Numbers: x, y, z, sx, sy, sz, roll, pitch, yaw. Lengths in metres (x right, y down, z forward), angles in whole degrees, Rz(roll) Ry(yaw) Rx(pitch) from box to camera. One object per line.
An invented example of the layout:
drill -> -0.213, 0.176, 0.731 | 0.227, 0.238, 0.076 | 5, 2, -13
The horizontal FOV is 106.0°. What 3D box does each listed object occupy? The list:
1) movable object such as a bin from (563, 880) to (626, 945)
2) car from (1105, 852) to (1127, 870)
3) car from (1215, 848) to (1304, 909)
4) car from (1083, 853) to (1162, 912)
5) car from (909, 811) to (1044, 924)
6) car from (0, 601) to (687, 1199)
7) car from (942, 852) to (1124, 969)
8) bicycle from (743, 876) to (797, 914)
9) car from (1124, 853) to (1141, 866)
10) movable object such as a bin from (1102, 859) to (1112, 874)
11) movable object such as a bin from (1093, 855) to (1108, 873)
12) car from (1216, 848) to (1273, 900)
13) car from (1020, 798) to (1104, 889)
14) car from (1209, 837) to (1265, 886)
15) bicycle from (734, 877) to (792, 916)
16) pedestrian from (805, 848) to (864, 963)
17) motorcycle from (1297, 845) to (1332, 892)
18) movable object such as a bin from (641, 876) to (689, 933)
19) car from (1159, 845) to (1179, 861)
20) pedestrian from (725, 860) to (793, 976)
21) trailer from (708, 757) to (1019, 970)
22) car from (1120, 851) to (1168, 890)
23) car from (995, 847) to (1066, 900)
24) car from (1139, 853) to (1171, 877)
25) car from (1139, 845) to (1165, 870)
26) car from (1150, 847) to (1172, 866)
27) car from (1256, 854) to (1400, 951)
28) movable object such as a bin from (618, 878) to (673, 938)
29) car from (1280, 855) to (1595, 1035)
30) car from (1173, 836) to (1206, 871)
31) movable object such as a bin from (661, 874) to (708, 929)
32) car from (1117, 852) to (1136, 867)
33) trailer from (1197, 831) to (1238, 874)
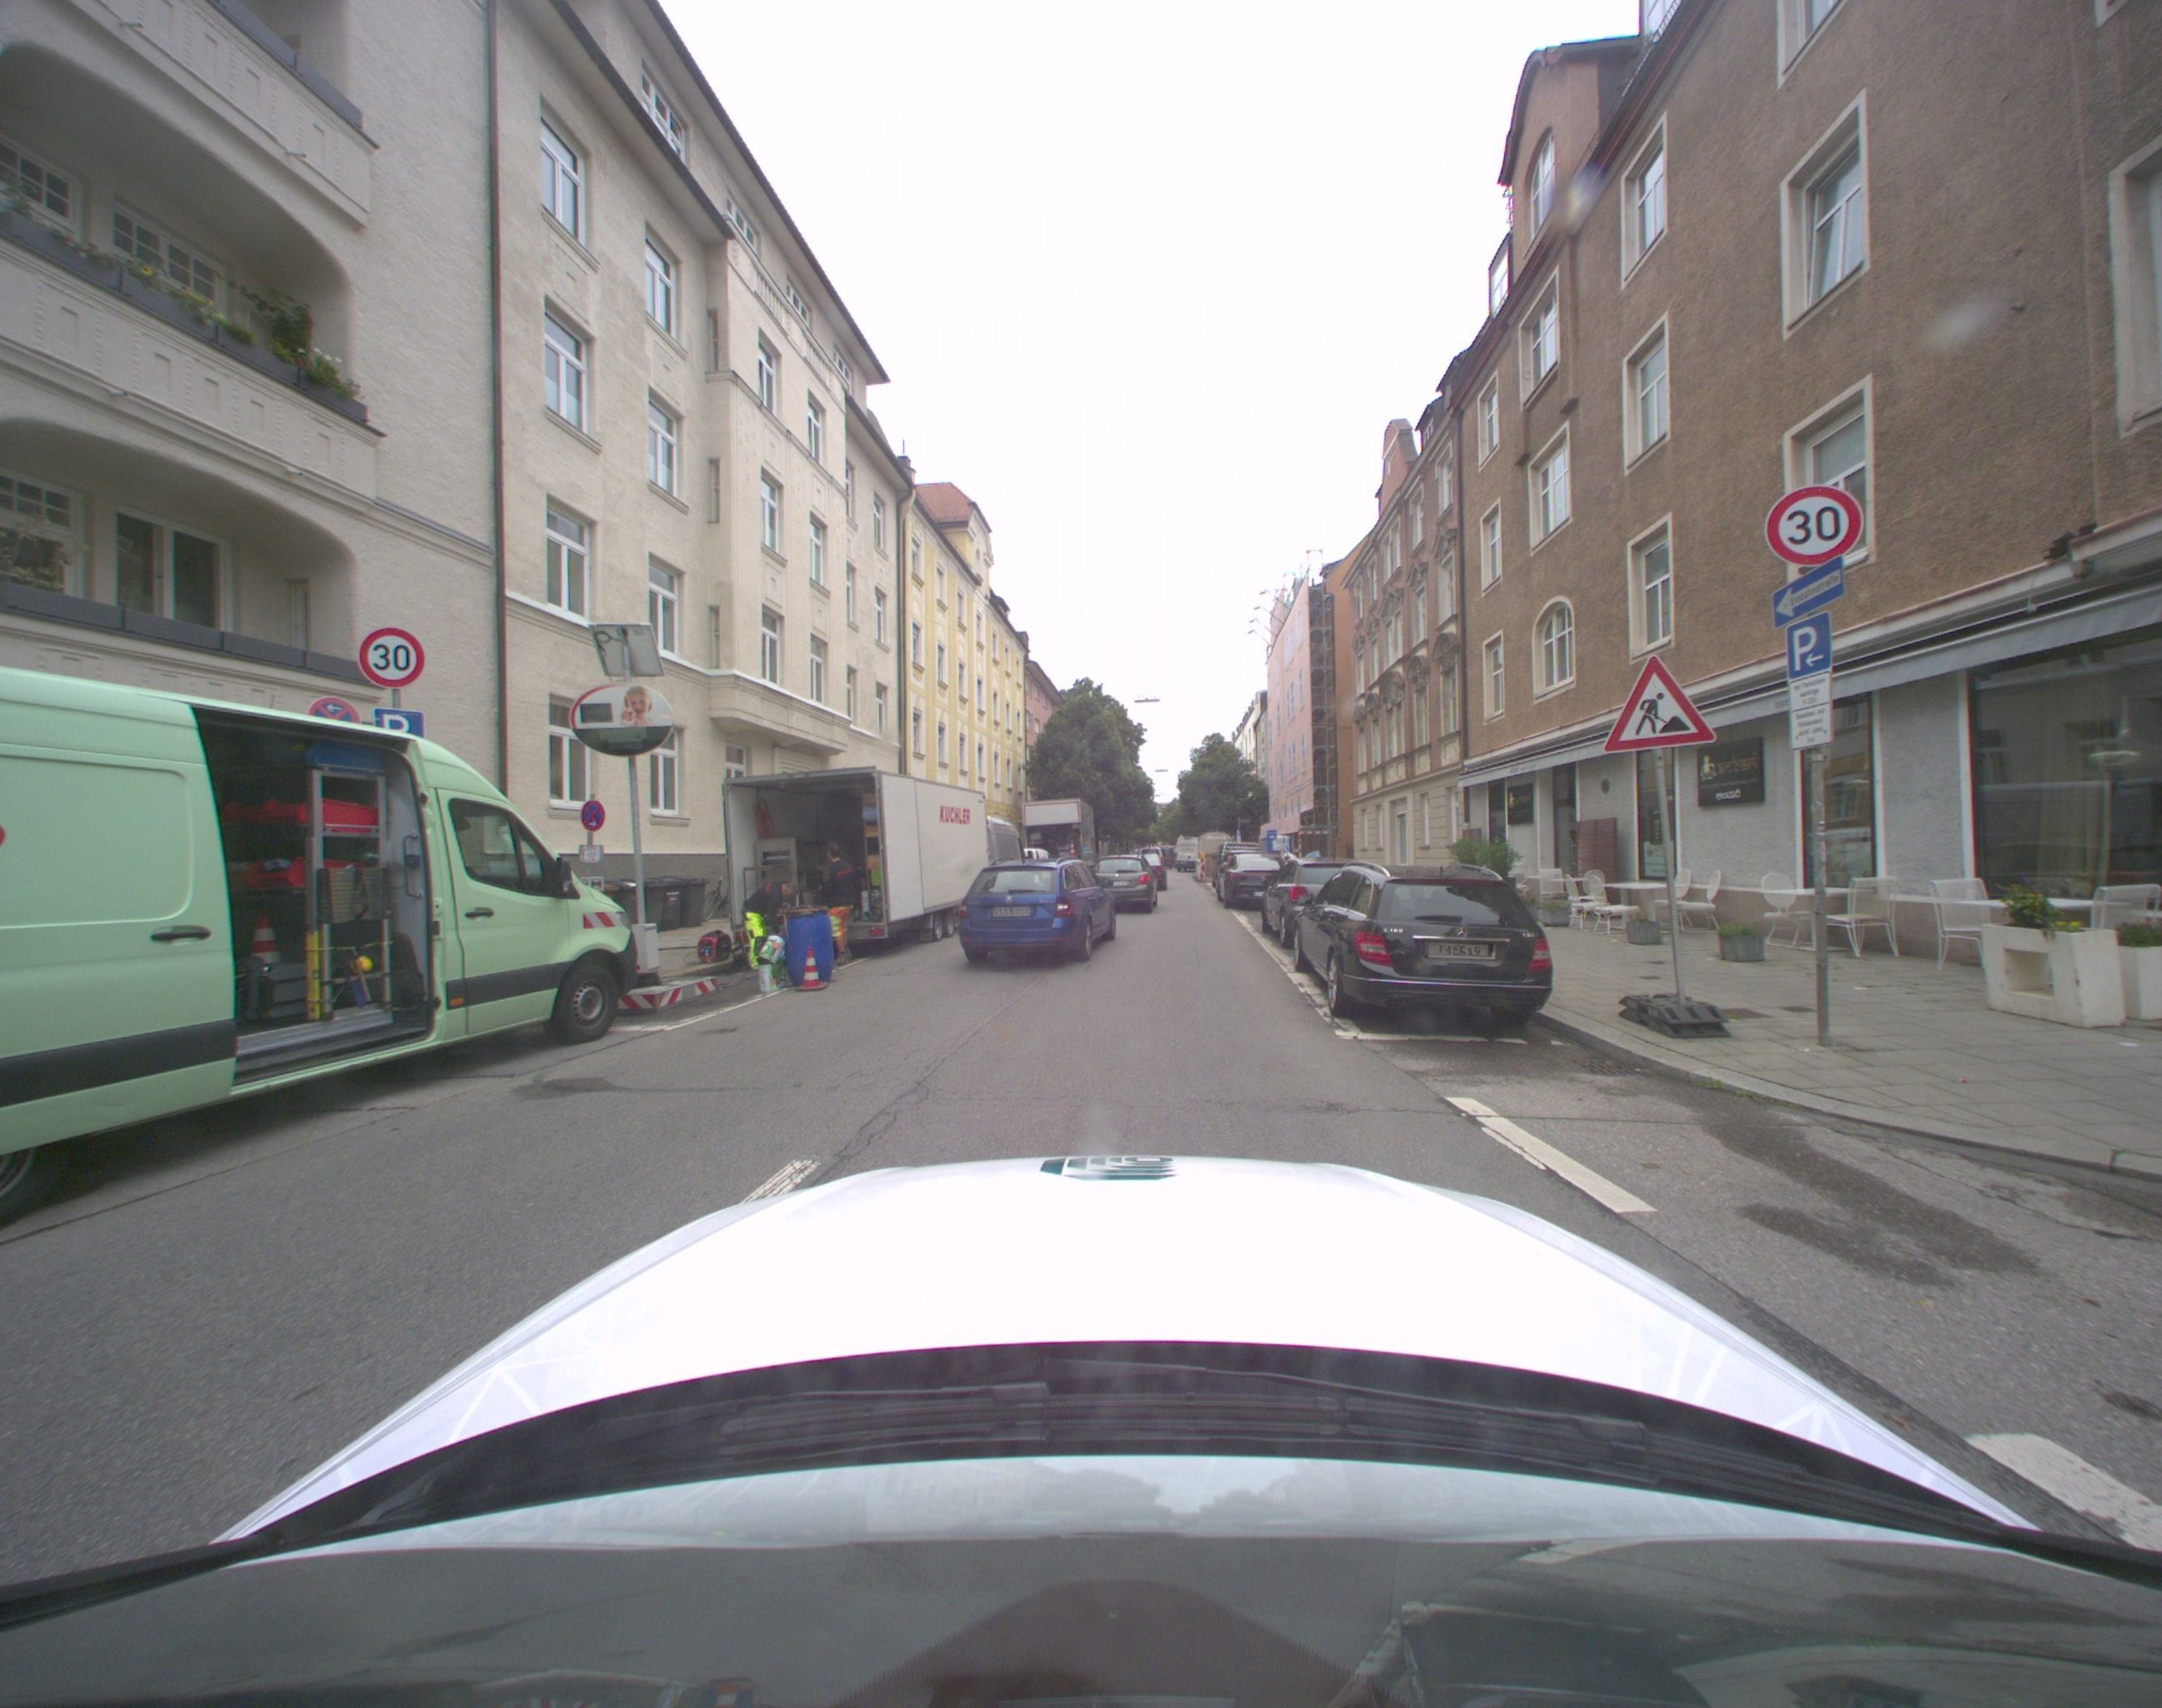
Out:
movable object such as a bin -> -8.885, 1.058, 14.892 | 0.644, 1.129, 0.732 | -2, -1, 9
car -> 3.110, 0.576, 71.645 | 1.804, 1.478, 4.005 | 0, 0, 5
car -> 5.062, 0.622, 23.834 | 1.921, 1.553, 5.646 | 0, 0, 6
car -> 1.174, 0.702, 21.522 | 1.731, 1.422, 3.672 | -1, 0, 8
car -> -2.712, 0.320, 23.333 | 2.045, 2.587, 6.889 | -5, 0, 6
car -> -5.530, 0.203, 5.059 | 2.129, 2.572, 6.808 | -1, 0, 7
car -> -0.517, 0.729, 12.501 | 1.778, 1.460, 4.327 | -1, 0, 10
bicycle -> -8.163, 1.063, 21.443 | 0.412, 0.914, 1.762 | 2, 0, 12
car -> 6.001, 0.591, 94.283 | 1.803, 1.478, 4.008 | 0, 0, 7
movable object such as a bin -> 2.045, 0.945, 62.957 | 0.708, 1.148, 0.637 | -3, 0, 3
movable object such as a bin -> 1.558, 0.771, 63.844 | 1.077, 1.376, 1.084 | -3, 0, 2
car -> 5.777, 0.669, 29.135 | 1.684, 1.676, 4.417 | 2, 0, 8
car -> -0.682, -0.424, 39.007 | 2.798, 3.817, 8.738 | -1, 0, 6
car -> 6.651, 0.386, 35.157 | 2.071, 1.921, 5.150 | 0, -2, 8
bicycle -> -8.001, 1.060, 20.553 | 0.391, 0.914, 1.596 | 2, 0, 18
pedestrian -> -3.630, 0.736, 12.037 | 0.762, 1.631, 0.634 | -1, -1, -13
motorcycle -> 7.819, 0.461, 27.372 | 0.866, 1.505, 2.002 | -1, 0, 8
movable object such as a bin -> -8.565, 1.034, 16.781 | 0.644, 1.129, 0.556 | -2, -1, 9
car -> 9.381, -0.076, 86.800 | 1.997, 1.653, 4.356 | 0, 1, 7
pedestrian -> -4.577, 0.893, 11.624 | 0.761, 1.580, 0.635 | -1, -1, -11
trailer -> -3.563, 0.104, 15.868 | 2.787, 2.969, 7.619 | -4, 0, 9
car -> 2.660, 0.630, 33.656 | 1.858, 1.454, 4.354 | 0, 1, 6
car -> -1.823, 0.681, 30.715 | 1.753, 1.779, 4.336 | -3, 0, 8
car -> 4.605, 0.635, 50.380 | 1.858, 1.348, 4.355 | 0, 1, 7
car -> 5.551, 0.234, 63.512 | 1.858, 1.870, 4.355 | 0, 1, 7
car -> 7.240, 0.236, 73.544 | 1.858, 1.653, 4.355 | 0, 1, 7
car -> 4.084, 0.731, 14.082 | 1.564, 1.394, 4.189 | -1, -1, 6
movable object such as a bin -> -8.653, 1.066, 16.196 | 0.673, 1.129, 0.640 | -2, -1, 9
car -> 3.417, 0.732, 8.897 | 1.837, 1.405, 4.797 | -1, 0, 7
car -> 8.658, -0.046, 64.419 | 2.098, 2.664, 5.518 | 0, 0, 12
movable object such as a bin -> -8.442, 1.008, 17.344 | 0.668, 1.129, 0.556 | -2, -1, 9
car -> 4.653, 0.518, 82.295 | 1.804, 1.478, 4.005 | 0, 0, 5
trailer -> 9.465, -0.087, 57.194 | 2.489, 2.840, 6.914 | 0, 0, 7
